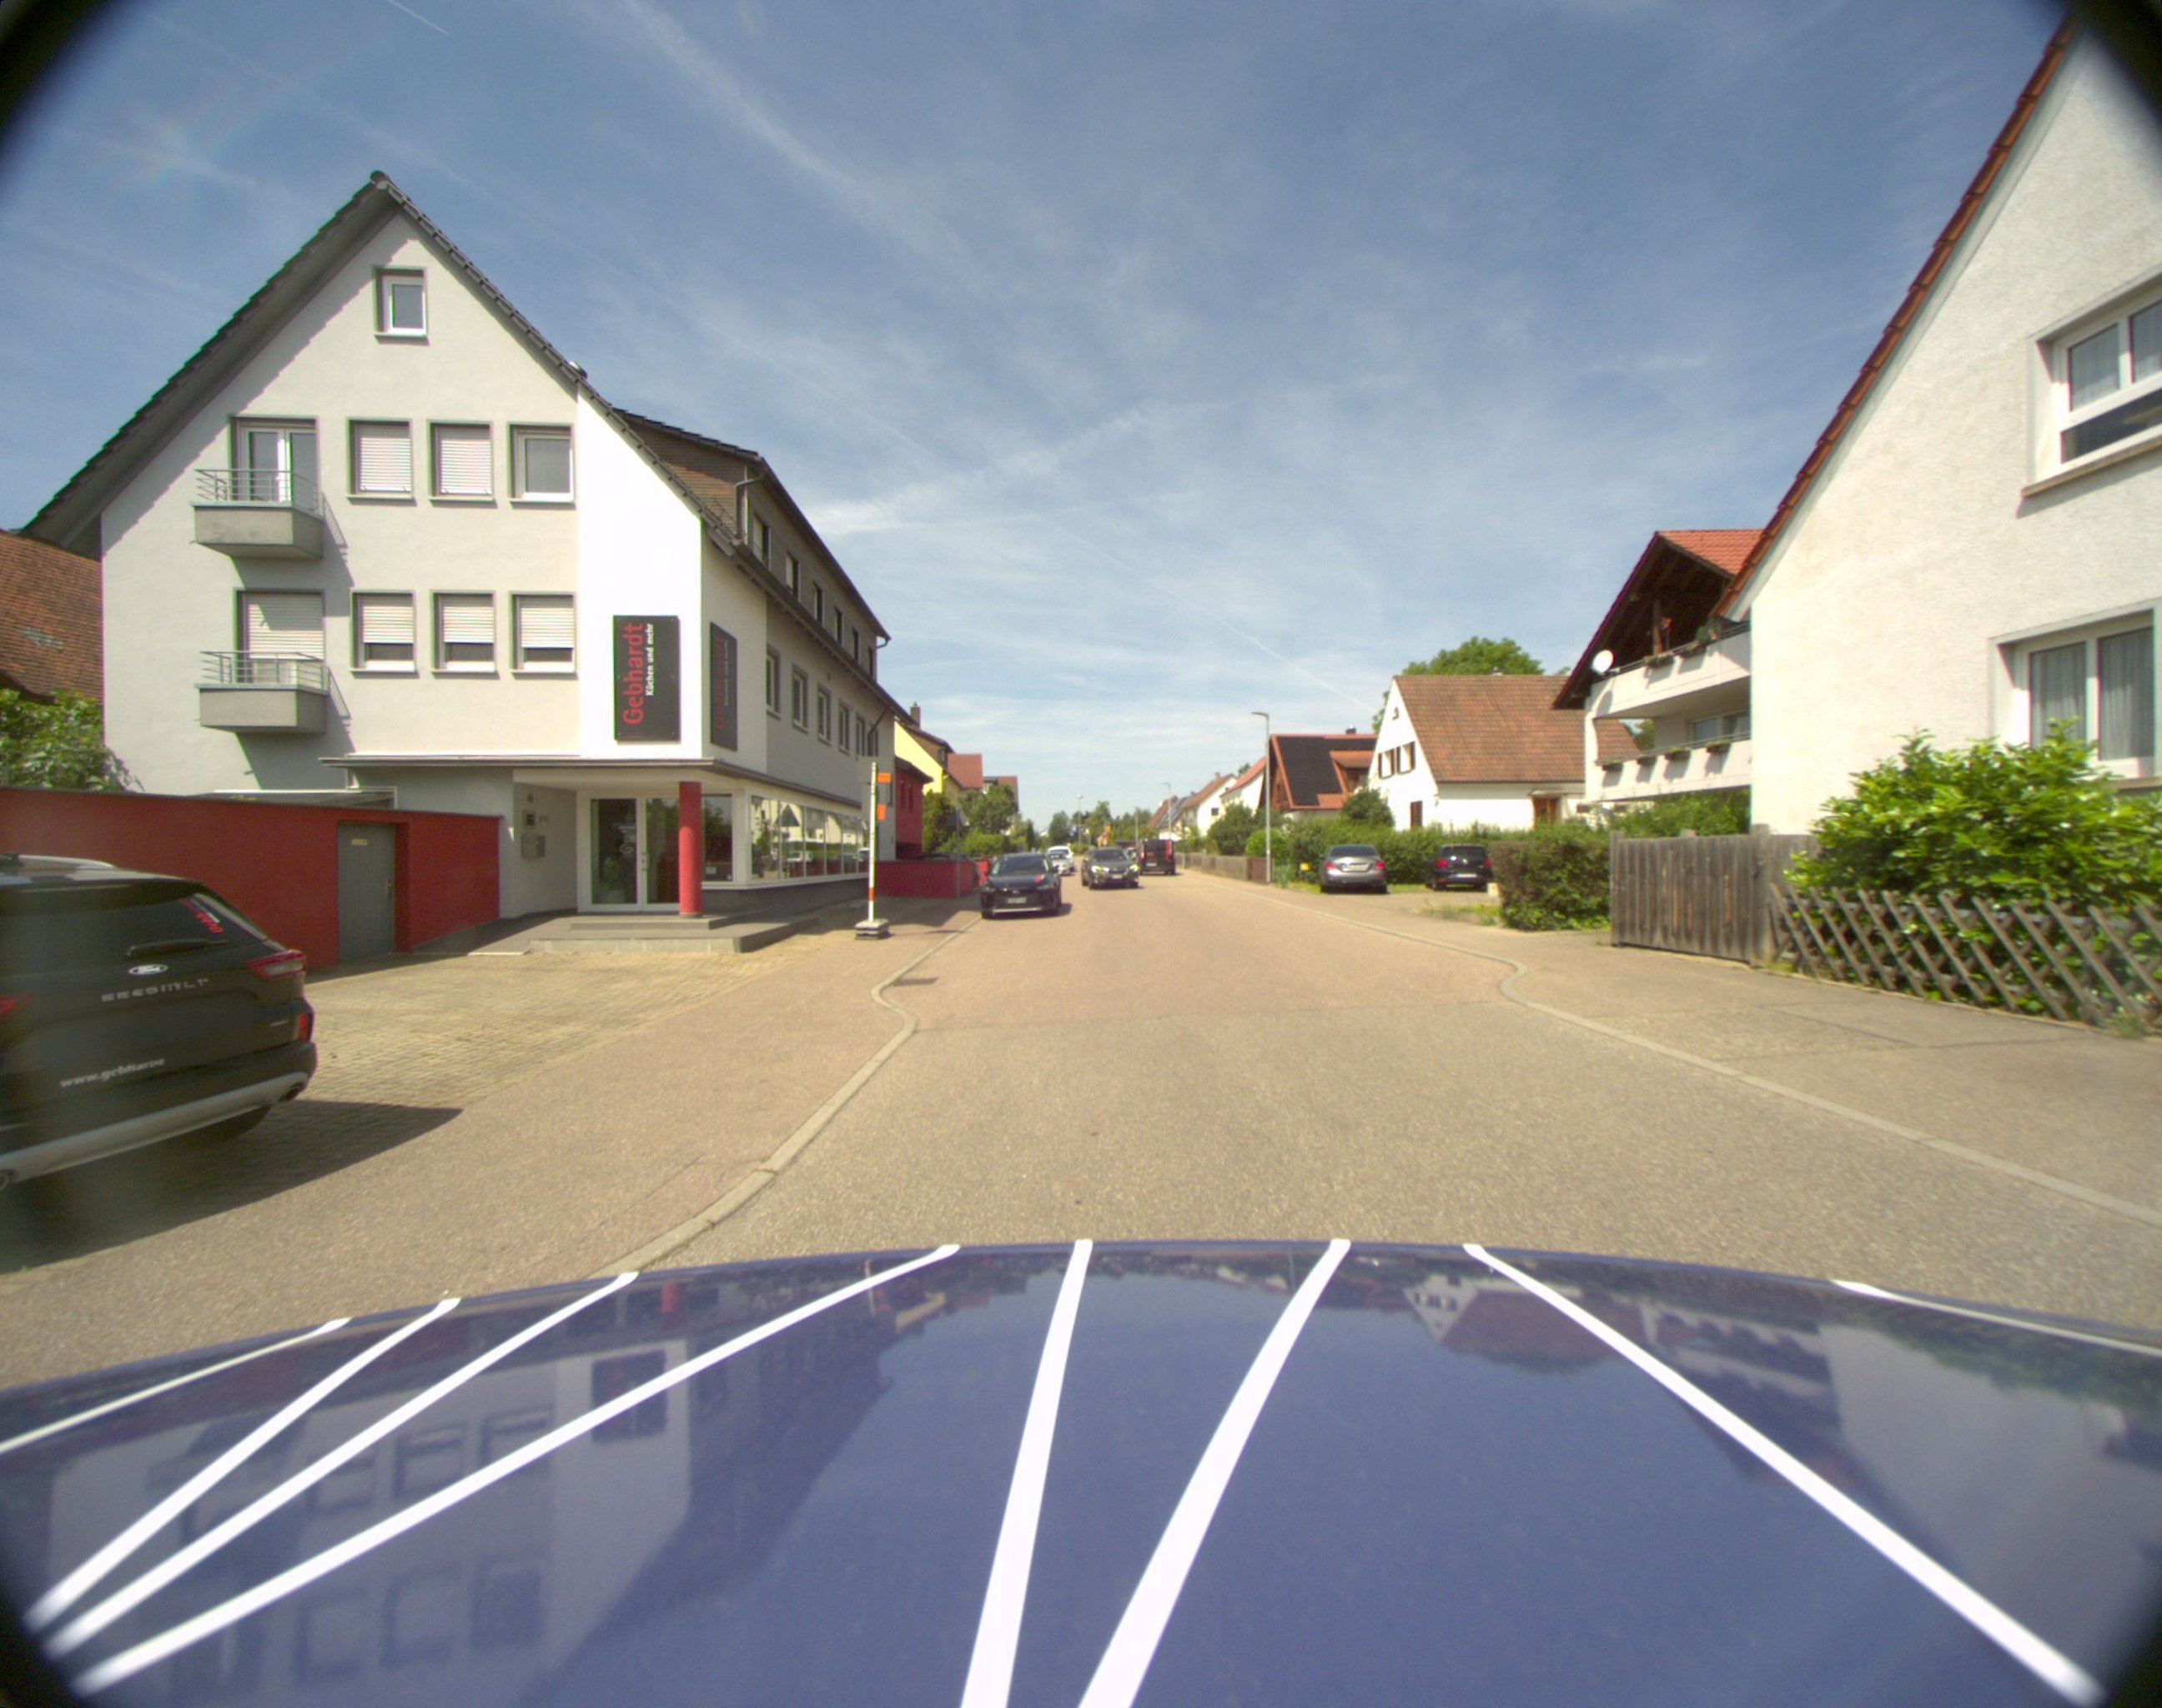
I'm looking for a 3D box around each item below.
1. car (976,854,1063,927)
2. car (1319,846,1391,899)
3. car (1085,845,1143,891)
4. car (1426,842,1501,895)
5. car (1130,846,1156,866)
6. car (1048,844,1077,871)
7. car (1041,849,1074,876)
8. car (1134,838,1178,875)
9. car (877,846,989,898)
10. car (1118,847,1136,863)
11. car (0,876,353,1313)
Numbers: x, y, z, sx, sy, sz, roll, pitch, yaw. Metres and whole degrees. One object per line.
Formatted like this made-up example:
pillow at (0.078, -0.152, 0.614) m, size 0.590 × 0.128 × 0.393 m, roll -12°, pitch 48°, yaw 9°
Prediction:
car at (-1.424, 0.824, 19.198) m, size 1.766 × 1.518 × 4.405 m, roll -2°, pitch 1°, yaw 0°
car at (8.393, 0.500, 23.595) m, size 1.829 × 1.423 × 4.568 m, roll -1°, pitch 1°, yaw 16°
car at (1.222, 0.490, 29.890) m, size 1.838 × 1.638 × 4.321 m, roll -2°, pitch 1°, yaw -3°
car at (11.812, 0.394, 23.648) m, size 1.691 × 1.493 × 3.656 m, roll -1°, pitch 1°, yaw 21°
car at (4.550, 0.138, 56.277) m, size 1.586 × 1.434 × 3.264 m, roll 0°, pitch 1°, yaw -2°
car at (-1.195, 0.203, 50.718) m, size 1.740 × 1.652 × 4.336 m, roll -2°, pitch 1°, yaw 0°
car at (-1.322, 0.449, 44.248) m, size 1.756 × 1.413 × 4.420 m, roll -3°, pitch 1°, yaw 0°
car at (4.087, 0.100, 42.011) m, size 1.973 × 1.940 × 4.695 m, roll -1°, pitch 1°, yaw 0°
car at (-6.342, 0.746, 32.943) m, size 4.379 × 1.659 × 1.876 m, roll -7°, pitch 1°, yaw -2°
car at (4.413, 0.059, 72.594) m, size 1.601 × 1.450 × 3.660 m, roll -1°, pitch 1°, yaw 2°
car at (-6.330, 1.006, 3.508) m, size 4.302 × 1.644 × 1.848 m, roll -1°, pitch 1°, yaw 5°
